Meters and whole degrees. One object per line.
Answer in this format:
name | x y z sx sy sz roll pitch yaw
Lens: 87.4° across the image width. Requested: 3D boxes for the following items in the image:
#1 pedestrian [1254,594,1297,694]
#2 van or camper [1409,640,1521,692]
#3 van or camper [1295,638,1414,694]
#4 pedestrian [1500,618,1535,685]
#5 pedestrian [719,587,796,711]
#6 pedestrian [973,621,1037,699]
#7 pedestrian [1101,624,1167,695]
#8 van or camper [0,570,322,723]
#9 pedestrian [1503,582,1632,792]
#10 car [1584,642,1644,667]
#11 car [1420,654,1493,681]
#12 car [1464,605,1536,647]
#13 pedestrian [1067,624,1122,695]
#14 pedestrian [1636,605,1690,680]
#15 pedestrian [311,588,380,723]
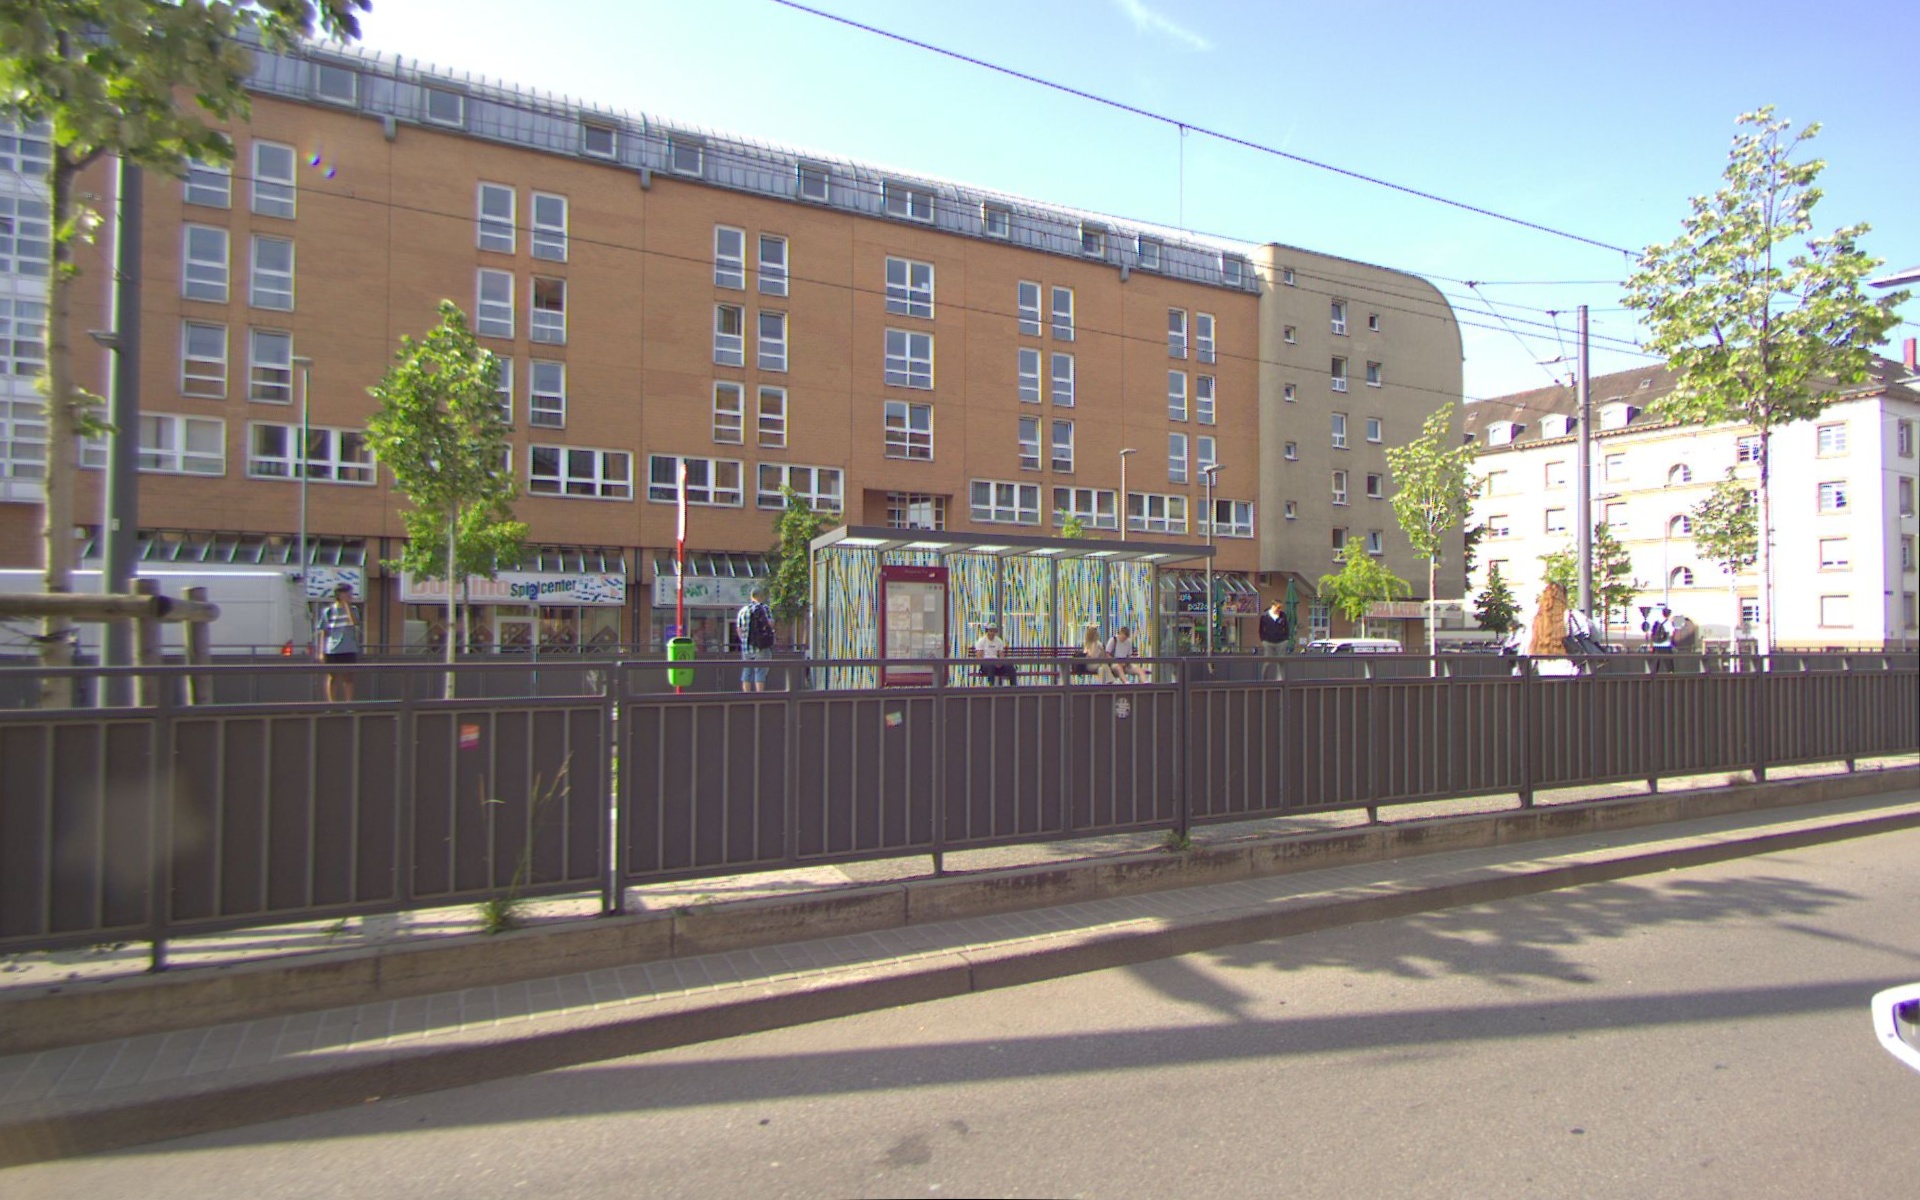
pedestrian | 6.184 0.856 19.703 0.791 1.911 0.555 0 -2 17
van or camper | 20.366 2.634 40.554 3.941 1.994 1.927 1 -2 -22
van or camper | 15.085 2.471 38.464 3.941 2.040 1.991 1 -2 -21
pedestrian | 13.184 1.221 23.749 0.666 1.550 0.810 -1 -2 33
pedestrian | -3.007 0.740 14.970 0.771 1.769 0.834 -2 -4 27
pedestrian | 0.788 1.051 17.805 0.799 1.331 0.865 1 -3 -29
pedestrian | 3.222 1.101 18.679 0.666 1.261 1.149 1 -3 -26
van or camper | -12.633 0.686 14.724 5.272 2.040 2.076 1 -3 -27
pedestrian | 5.408 0.745 8.958 0.717 1.781 0.671 2 0 -27
car | 40.742 3.370 62.571 3.882 1.553 1.664 1 -3 -32
car | 29.339 3.975 59.370 3.951 1.528 1.986 1 -3 -29
car | 34.988 1.716 65.054 5.000 2.617 1.982 1 -3 -33
pedestrian | 2.479 1.093 18.549 0.666 1.261 0.789 1 -3 -26
pedestrian | 17.972 1.088 25.687 0.926 1.896 0.737 1 -2 -23
pedestrian | -8.367 0.743 13.695 0.689 1.784 0.649 2 0 -25
